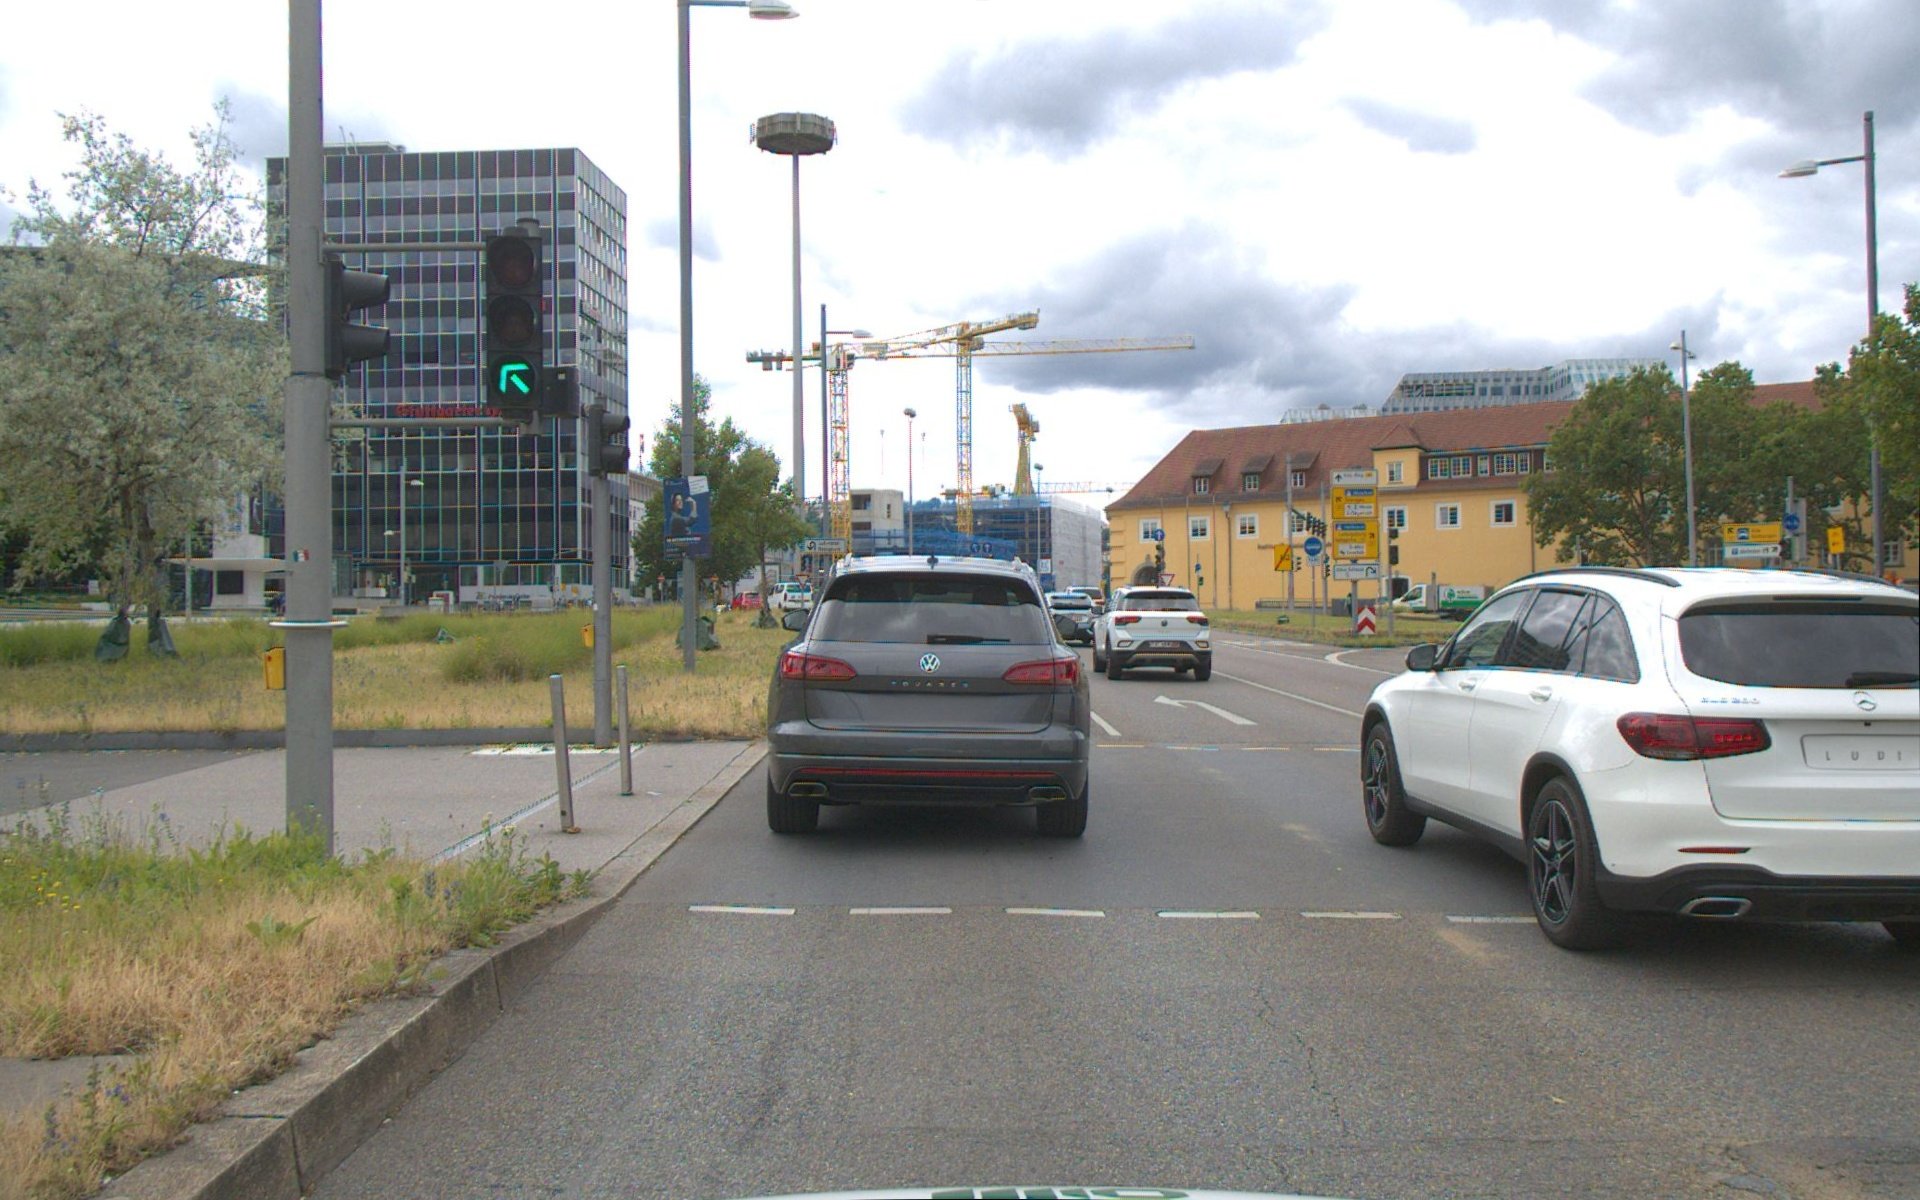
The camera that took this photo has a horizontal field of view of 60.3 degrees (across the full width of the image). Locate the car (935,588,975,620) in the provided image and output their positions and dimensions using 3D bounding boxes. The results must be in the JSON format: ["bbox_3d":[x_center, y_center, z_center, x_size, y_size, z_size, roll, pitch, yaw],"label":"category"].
[{"bbox_3d":[-0.272,0.202,81.529,1.778,1.522,3.904,-1,0,-3],"label":"car"}]

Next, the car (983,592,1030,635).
[{"bbox_3d":[1.749,0.493,61.953,1.683,1.529,3.982,1,0,2],"label":"car"}]

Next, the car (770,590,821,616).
[{"bbox_3d":[-9.994,0.160,100.124,2.209,1.529,4.589,0,1,-17],"label":"car"}]

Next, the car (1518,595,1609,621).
[{"bbox_3d":[34.064,0.436,93.378,4.592,1.445,1.593,0,0,31],"label":"car"}]

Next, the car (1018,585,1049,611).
[{"bbox_3d":[4.269,-0.128,96.755,1.683,1.529,3.981,0,1,0],"label":"car"}]

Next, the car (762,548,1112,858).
[{"bbox_3d":[-0.153,0.536,10.947,1.893,1.676,3.999,0,1,-1],"label":"car"}]

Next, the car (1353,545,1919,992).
[{"bbox_3d":[3.459,0.610,8.413,1.782,1.676,4.378,0,1,-2],"label":"car"}]

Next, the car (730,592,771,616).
[{"bbox_3d":[-14.077,0.250,110.873,1.696,1.529,3.951,0,0,-24],"label":"car"}]

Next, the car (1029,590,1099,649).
[{"bbox_3d":[2.784,0.497,45.125,1.683,1.529,4.144,0,1,0],"label":"car"}]

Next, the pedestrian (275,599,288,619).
[{"bbox_3d":[-37.141,0.510,90.541,0.465,1.100,0.560,1,0,0],"label":"pedestrian"}]

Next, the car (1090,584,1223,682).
[{"bbox_3d":[3.381,0.520,29.070,1.855,1.613,3.800,0,1,-1],"label":"car"}]

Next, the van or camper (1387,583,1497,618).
[{"bbox_3d":[28.292,0.036,97.251,5.902,2.049,2.012,0,0,35],"label":"van or camper"}]

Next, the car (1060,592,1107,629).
[{"bbox_3d":[5.326,0.438,71.681,1.766,1.529,3.981,0,1,0],"label":"car"}]
